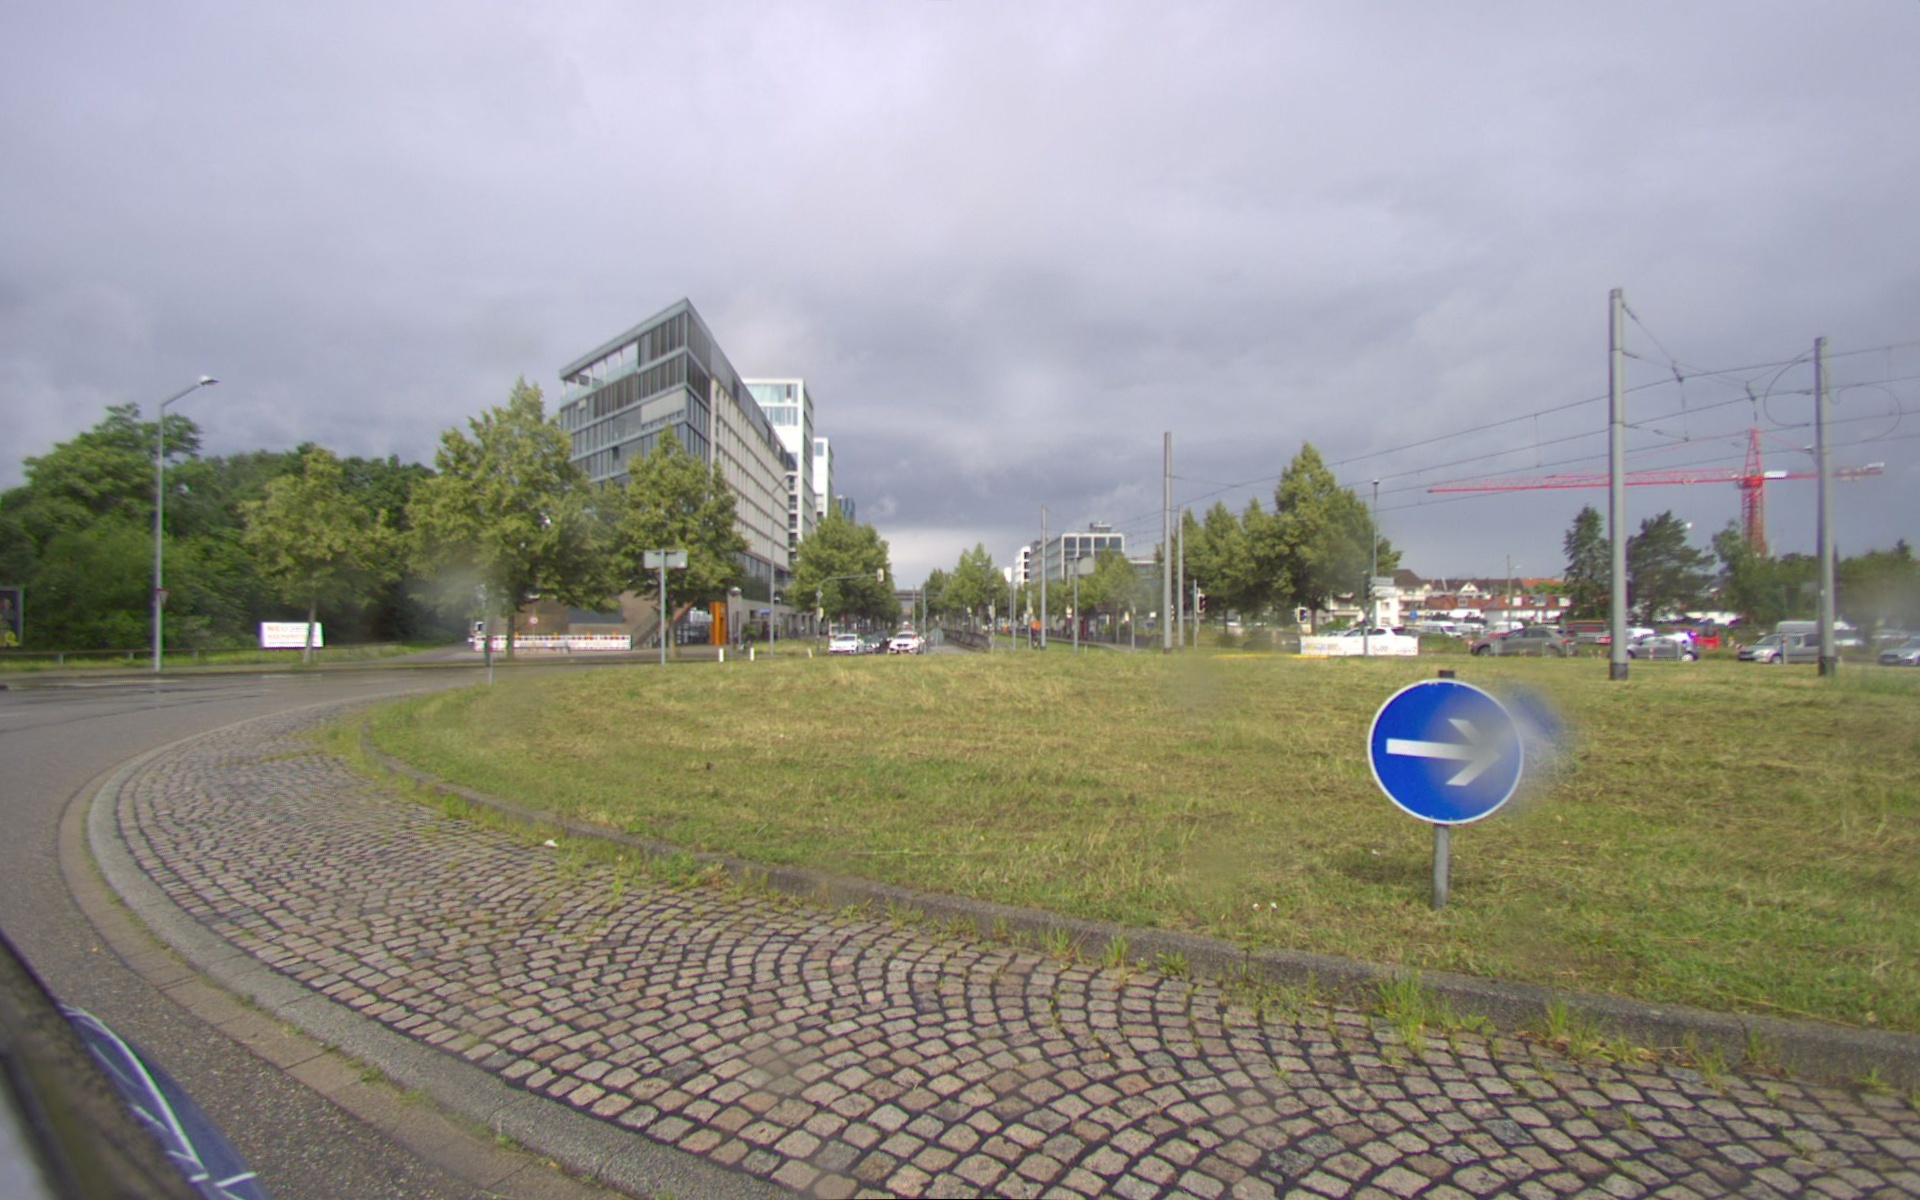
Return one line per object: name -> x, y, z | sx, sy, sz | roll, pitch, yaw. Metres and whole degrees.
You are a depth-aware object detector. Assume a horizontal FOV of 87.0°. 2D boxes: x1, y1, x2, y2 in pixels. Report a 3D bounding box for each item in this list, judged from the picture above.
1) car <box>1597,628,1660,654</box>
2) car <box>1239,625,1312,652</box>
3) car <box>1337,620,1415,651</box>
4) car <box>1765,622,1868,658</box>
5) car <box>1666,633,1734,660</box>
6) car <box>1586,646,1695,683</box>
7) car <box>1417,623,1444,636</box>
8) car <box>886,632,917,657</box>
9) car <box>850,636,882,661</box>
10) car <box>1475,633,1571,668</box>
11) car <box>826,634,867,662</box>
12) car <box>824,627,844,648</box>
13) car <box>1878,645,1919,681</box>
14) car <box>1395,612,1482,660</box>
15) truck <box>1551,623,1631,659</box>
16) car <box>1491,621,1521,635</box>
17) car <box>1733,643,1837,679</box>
car -> 49.481, 2.985, 74.997 | 1.830, 1.713, 4.003 | 1, 0, -3
car -> 18.470, 2.262, 59.382 | 1.772, 1.529, 4.013 | 0, -2, -27
car -> 21.689, 1.838, 52.849 | 1.475, 1.522, 3.510 | 0, -1, -33
car -> 58.705, 2.688, 69.550 | 2.016, 2.101, 6.260 | 0, 1, 3
car -> 52.459, 3.283, 71.867 | 1.903, 1.713, 3.998 | 0, 1, 1
car -> 32.302, 3.043, 48.179 | 3.976, 1.597, 1.783 | -1, -1, 24
car -> 58.695, 3.678, 126.311 | 1.527, 1.572, 3.502 | 0, -2, -3
car -> -3.604, 2.746, 62.718 | 1.703, 1.519, 3.904 | 0, -2, 0
car -> -6.720, 3.504, 72.765 | 1.841, 1.685, 4.469 | -1, -3, 1
car -> 26.315, 2.324, 47.358 | 3.678, 1.572, 1.551 | -2, -2, 43
car -> -7.100, 3.024, 63.665 | 1.842, 1.685, 4.465 | -1, -3, 4
car -> -14.637, 4.403, 117.936 | 1.840, 2.378, 4.471 | 0, -3, -1
car -> 44.321, 2.849, 46.263 | 3.493, 1.572, 1.603 | 0, -1, -9
car -> 26.656, 1.978, 56.460 | 1.770, 2.587, 4.004 | 1, -2, -42
truck -> 45.026, 2.904, 72.452 | 2.368, 2.228, 6.090 | 0, 1, 6
car -> 66.550, 3.410, 123.450 | 1.477, 1.736, 3.604 | 0, -2, -5
car -> 36.902, 2.716, 45.307 | 3.447, 1.572, 1.551 | 0, -1, -4
